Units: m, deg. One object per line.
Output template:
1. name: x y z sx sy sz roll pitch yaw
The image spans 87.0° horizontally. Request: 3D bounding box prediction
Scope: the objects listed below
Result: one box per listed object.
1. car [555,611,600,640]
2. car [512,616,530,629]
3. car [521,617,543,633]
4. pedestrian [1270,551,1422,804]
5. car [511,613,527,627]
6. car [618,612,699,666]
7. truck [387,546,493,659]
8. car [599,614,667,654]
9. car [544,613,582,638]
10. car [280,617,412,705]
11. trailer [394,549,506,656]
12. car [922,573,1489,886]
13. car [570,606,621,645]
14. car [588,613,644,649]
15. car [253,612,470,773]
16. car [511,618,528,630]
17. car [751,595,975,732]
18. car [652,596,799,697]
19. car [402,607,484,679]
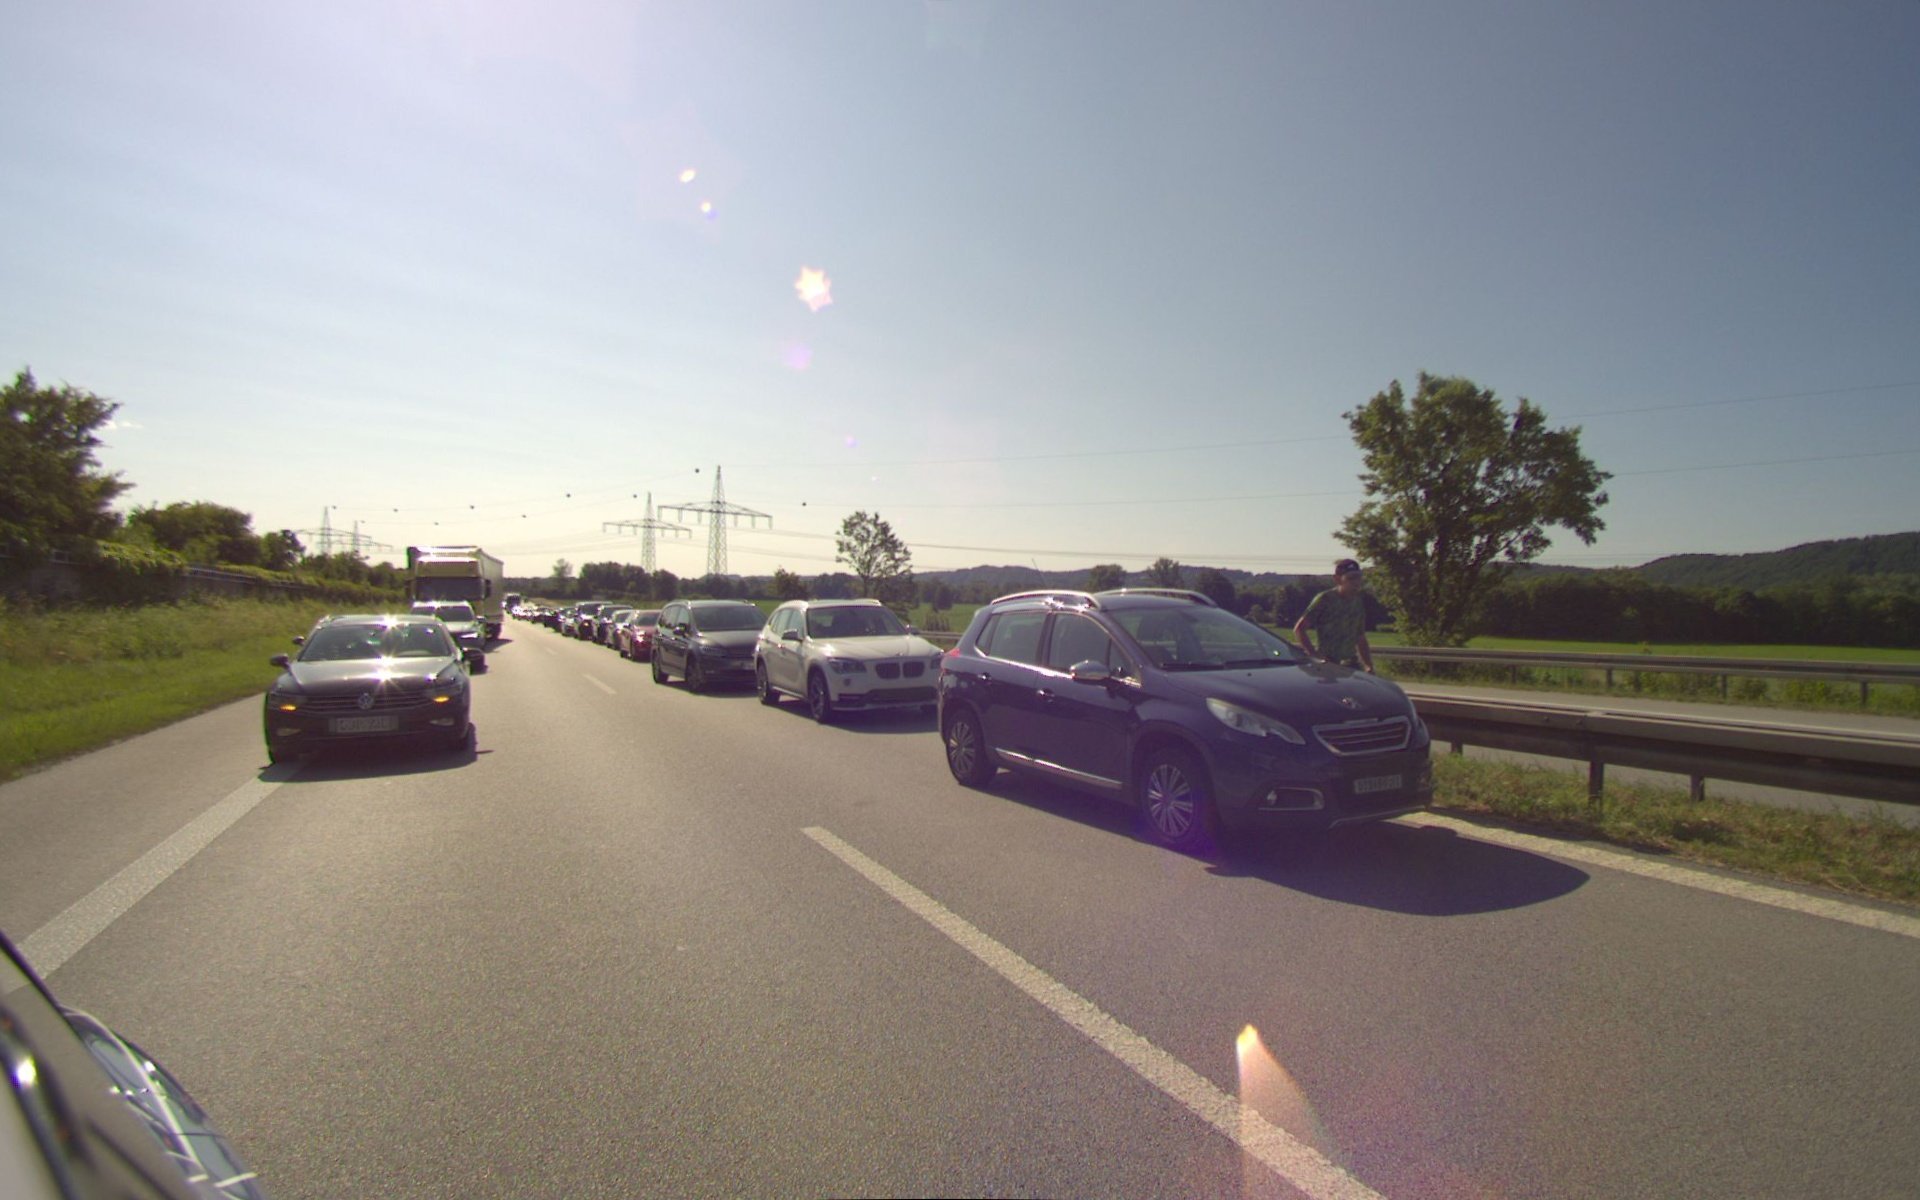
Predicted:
1. car: -21.219 1.407 56.116 1.965 1.542 4.013 0 -1 -26
2. car: -51.337 2.638 118.307 1.789 1.470 4.131 -1 0 -24
3. car: -42.299 2.421 99.970 1.789 1.470 4.131 -1 0 -25
4. pedestrian: 2.868 0.547 7.570 0.661 1.763 0.817 1 -1 -25
5. car: -57.574 2.579 131.993 1.783 1.807 3.785 0 -1 -26
6. car: -8.973 1.107 29.905 1.789 1.470 4.131 1 -1 -24
7. truck: -20.848 0.073 40.961 3.278 4.144 6.993 -1 0 -24
8. car: -12.318 1.242 37.980 1.863 1.409 4.013 0 -1 -26
9. car: -25.332 1.631 64.481 1.965 1.542 4.013 0 -1 -26
10. car: -11.631 1.070 19.417 1.688 1.436 4.339 -1 0 -25
11. trailer: -23.111 0.104 46.658 3.332 4.144 13.998 -1 0 -22
12. car: 1.377 0.670 7.219 1.664 1.546 3.961 -2 0 -28
13. car: -17.938 1.237 49.709 1.870 1.801 4.213 1 -1 -26
14. car: -14.843 1.301 43.545 1.862 1.466 4.013 0 -1 -25
15. car: -6.582 0.880 11.546 1.688 1.424 4.339 -1 0 -25
16. car: -53.758 2.904 123.422 1.789 1.470 4.131 1 -1 -24
17. car: -1.512 0.770 14.032 1.802 1.586 4.177 0 -1 -25
18. car: -4.505 0.797 18.985 1.789 1.628 4.131 -1 0 -26
19. car: -13.135 1.037 25.876 1.688 1.636 4.339 -1 0 -25
